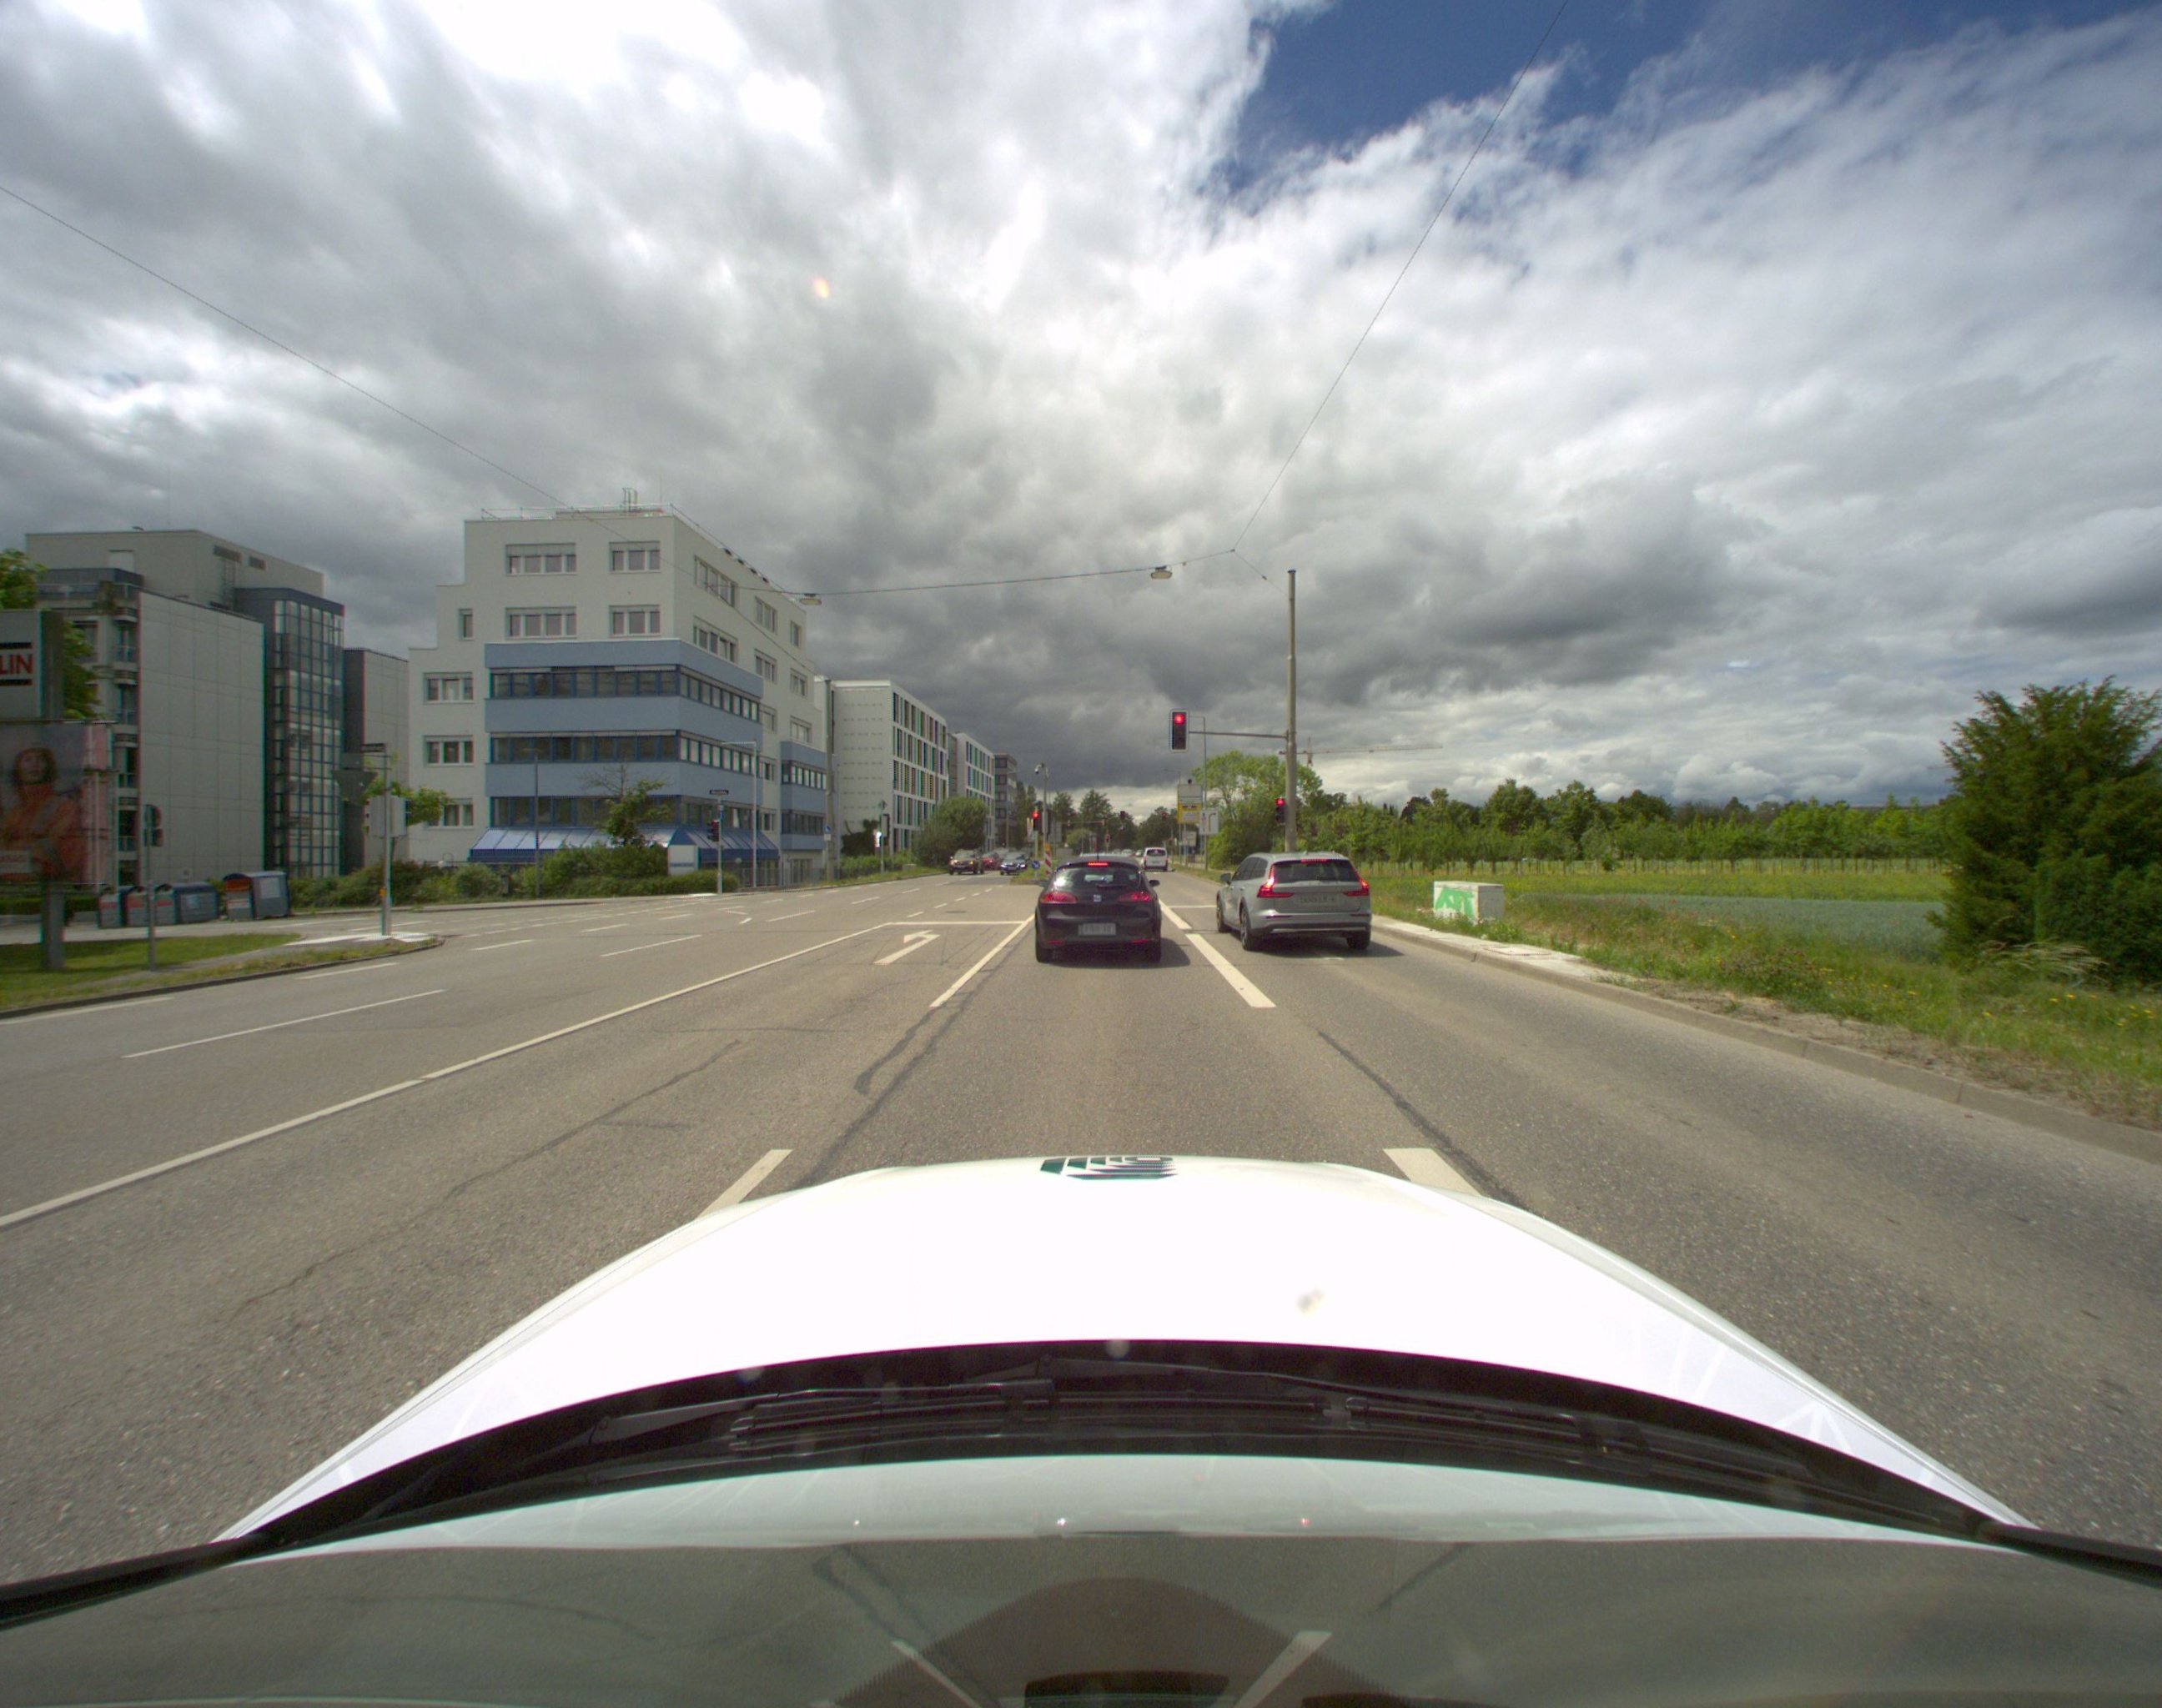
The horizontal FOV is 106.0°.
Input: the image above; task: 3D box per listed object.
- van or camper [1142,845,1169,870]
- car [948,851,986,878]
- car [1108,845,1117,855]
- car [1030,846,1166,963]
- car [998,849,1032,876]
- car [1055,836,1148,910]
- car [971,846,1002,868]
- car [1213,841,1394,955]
[{"bbox_3d":[5.841,0.269,64.217,1.892,1.926,4.001,-1,0,1],"label":"van or camper"},{"bbox_3d":[-7.454,0.671,53.387,1.745,1.631,4.001,-2,0,2],"label":"car"},{"bbox_3d":[6.840,-0.835,177.779,1.986,2.014,4.001,-1,0,1],"label":"car"},{"bbox_3d":[0.396,0.652,12.463,1.739,1.484,4.006,1,0,5],"label":"car"},{"bbox_3d":[-4.189,0.491,52.235,1.662,1.524,4.010,-3,1,2],"label":"car"},{"bbox_3d":[0.474,0.404,19.560,1.976,1.590,4.227,0,0,1],"label":"car"},{"bbox_3d":[-7.285,0.259,63.214,1.769,1.612,4.001,-1,0,2],"label":"car"},{"bbox_3d":[3.443,0.630,13.506,1.950,1.525,4.343,-2,0,3],"label":"car"}]
